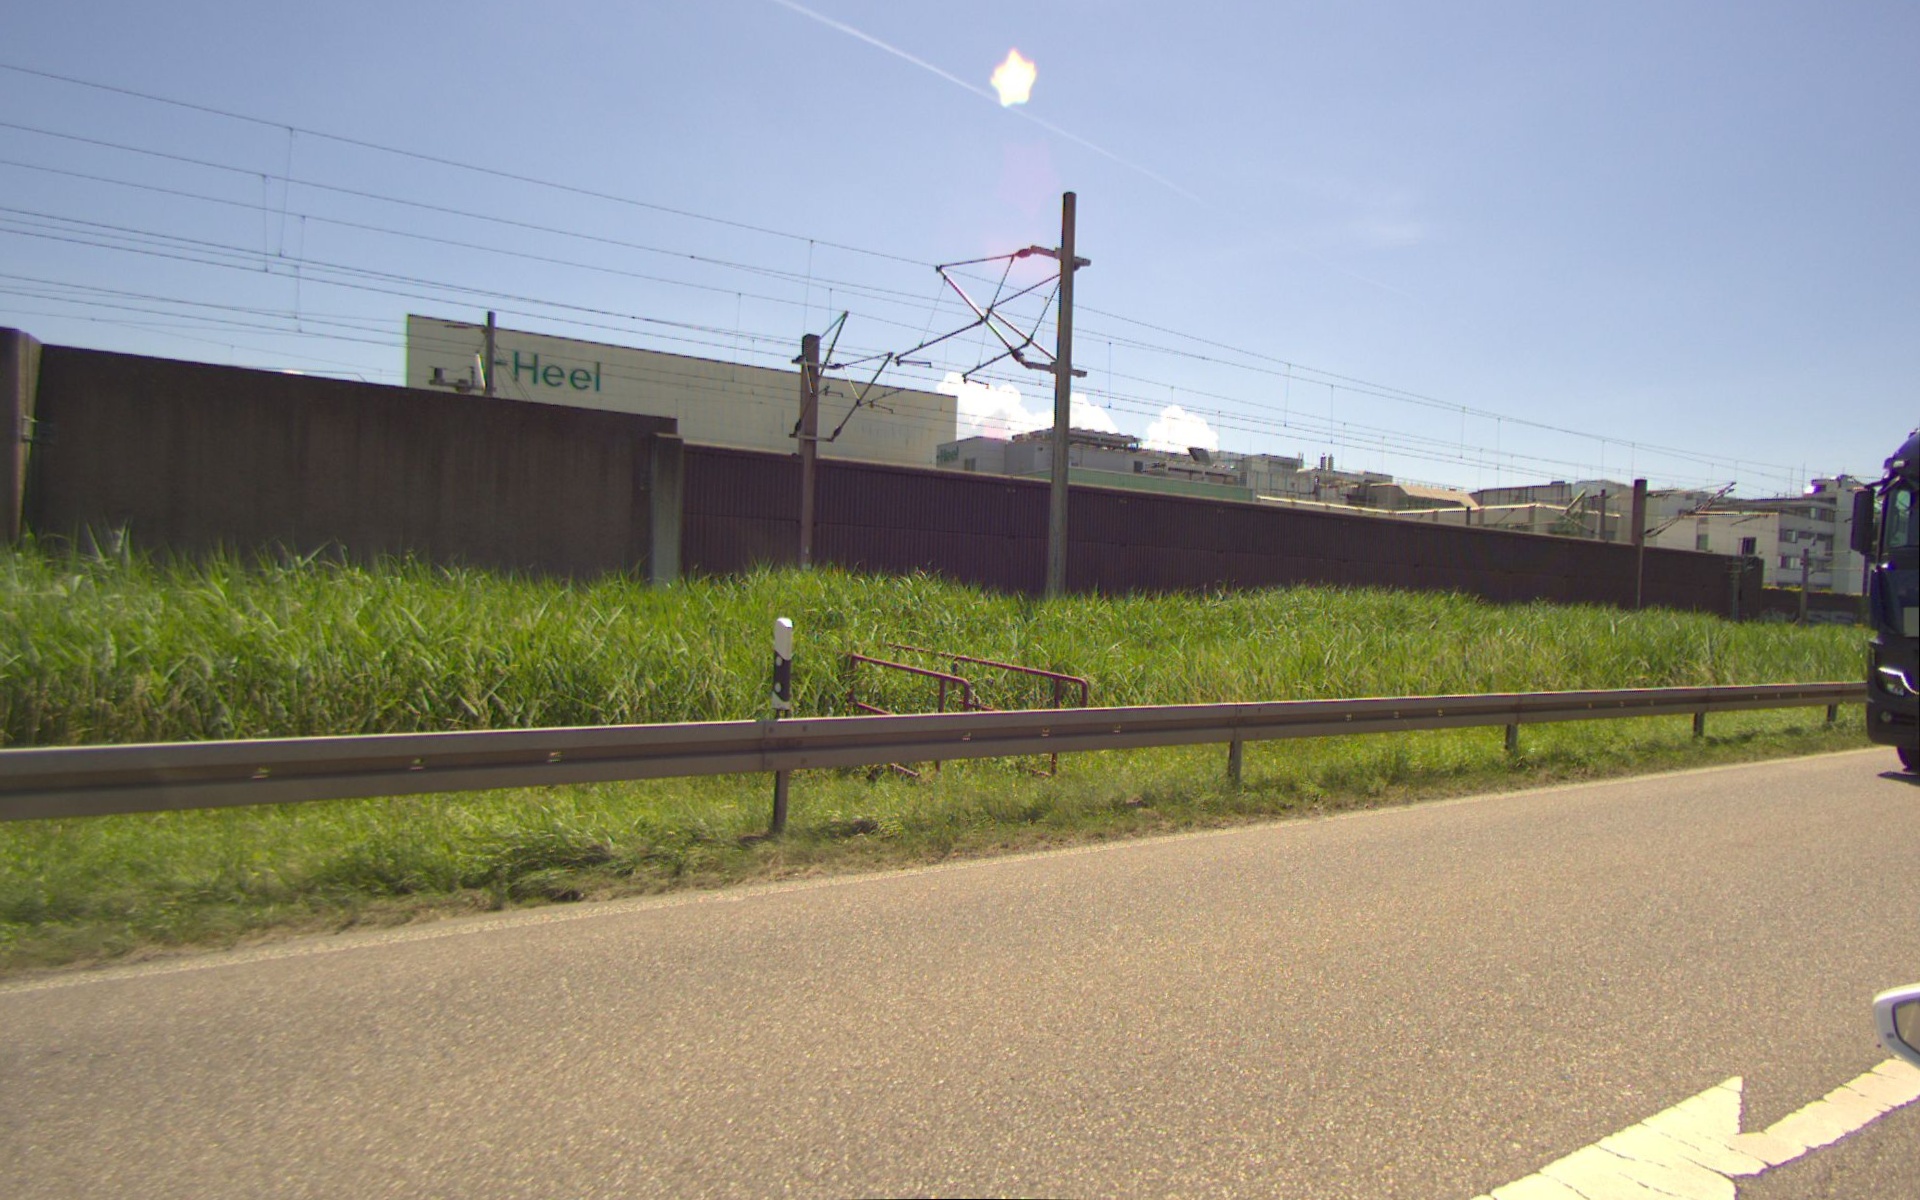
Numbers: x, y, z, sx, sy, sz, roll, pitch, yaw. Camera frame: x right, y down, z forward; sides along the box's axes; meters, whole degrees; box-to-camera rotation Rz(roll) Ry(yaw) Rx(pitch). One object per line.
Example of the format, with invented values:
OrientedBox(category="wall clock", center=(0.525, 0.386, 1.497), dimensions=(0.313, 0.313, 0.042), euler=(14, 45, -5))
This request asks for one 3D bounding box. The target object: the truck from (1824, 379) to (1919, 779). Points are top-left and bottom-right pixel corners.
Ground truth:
OrientedBox(category="truck", center=(14.438, -0.104, 12.226), dimensions=(10.378, 4.031, 2.783), euler=(2, -1, -31))
